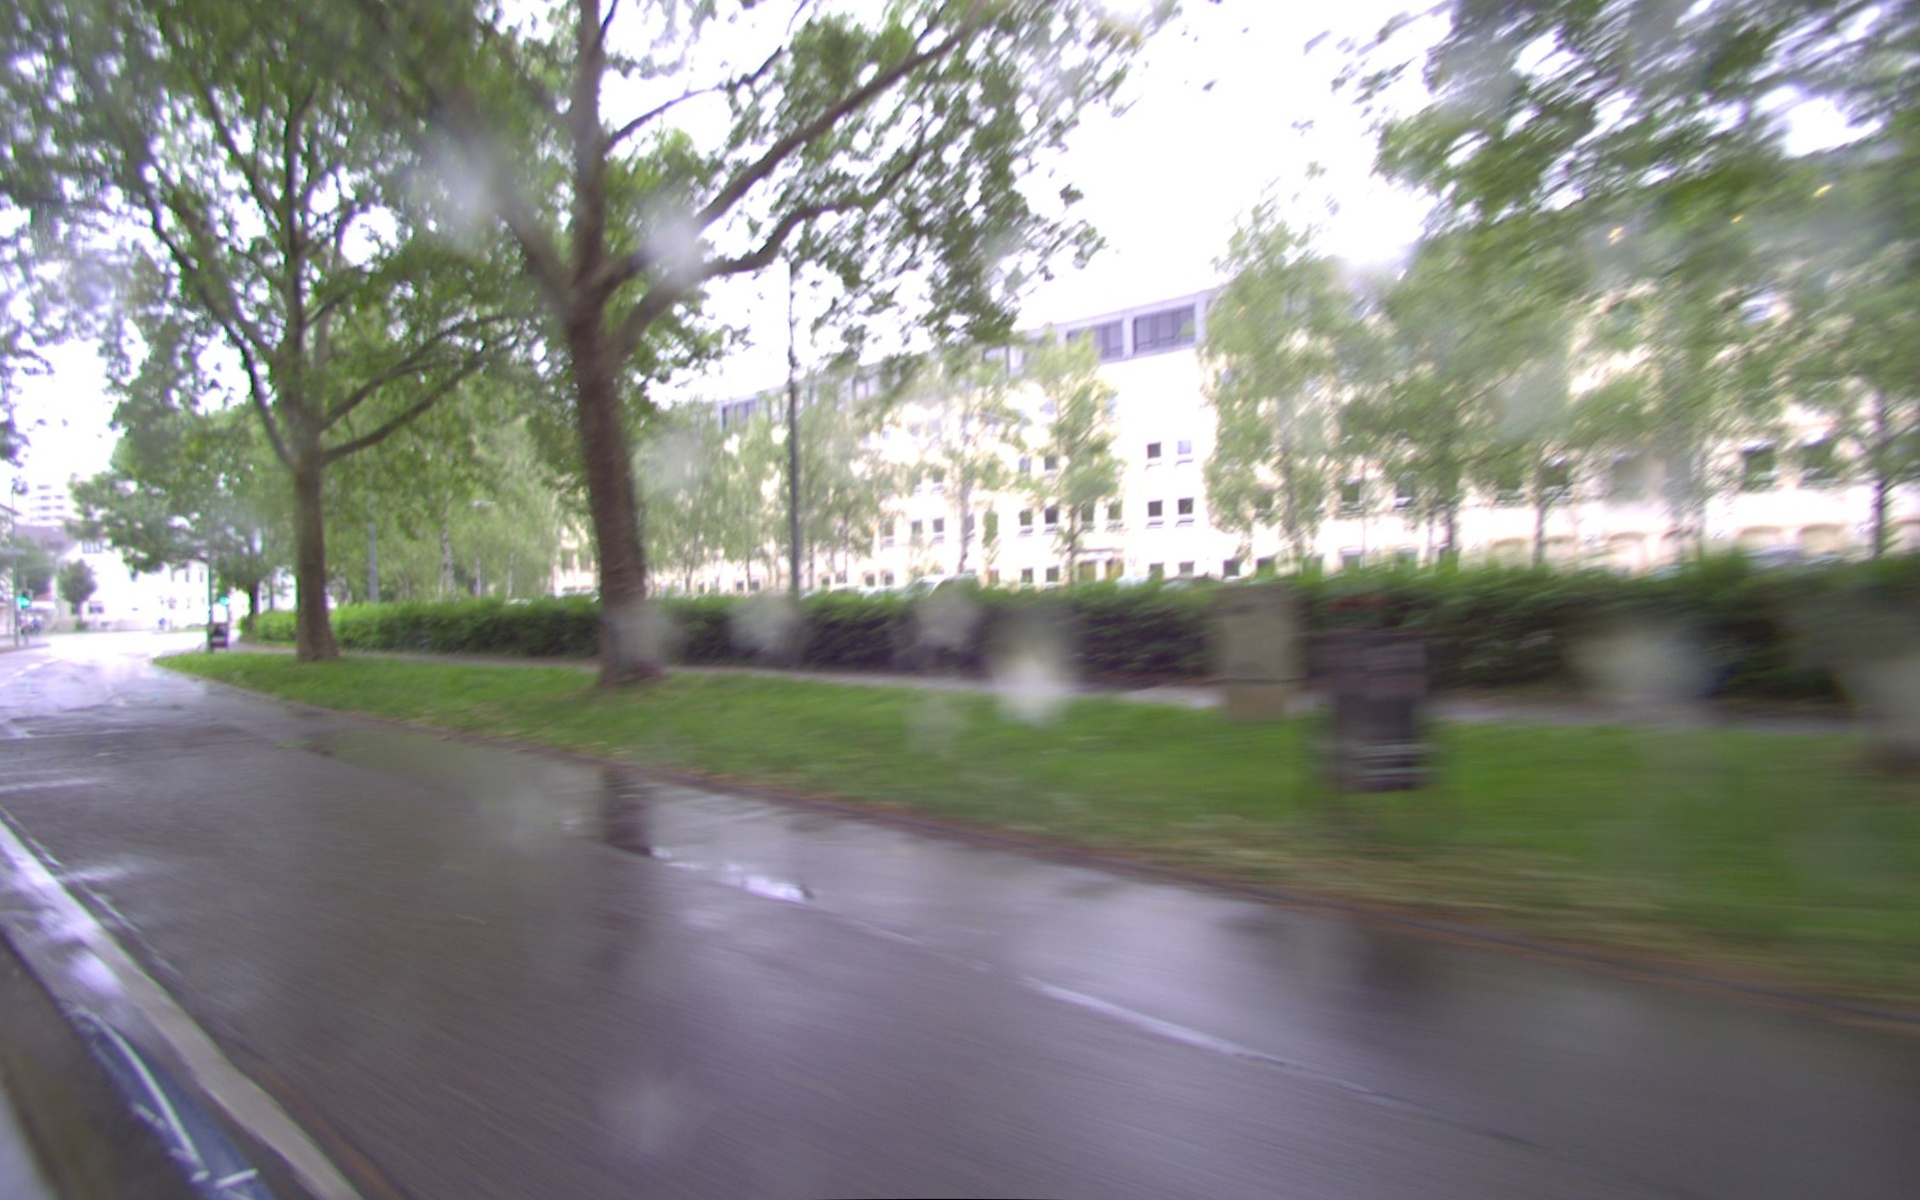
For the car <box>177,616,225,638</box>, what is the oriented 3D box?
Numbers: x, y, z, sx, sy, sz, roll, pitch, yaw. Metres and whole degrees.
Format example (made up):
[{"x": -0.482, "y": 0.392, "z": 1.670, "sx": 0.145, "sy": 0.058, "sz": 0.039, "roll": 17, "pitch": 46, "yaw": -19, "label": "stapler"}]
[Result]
[{"x": -84.513, "y": 3.003, "z": 112.704, "sx": 2.161, "sy": 2.272, "sz": 4.894, "roll": -2, "pitch": 0, "yaw": -9, "label": "car"}]

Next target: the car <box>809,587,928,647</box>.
[{"x": -3.241, "y": 0.592, "z": 36.287, "sx": 1.999, "sy": 2.029, "sz": 3.945, "roll": -2, "pitch": -1, "yaw": 42, "label": "car"}]

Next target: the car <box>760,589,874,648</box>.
[{"x": -5.467, "y": 0.678, "z": 38.964, "sx": 2.000, "sy": 2.149, "sz": 3.944, "roll": -2, "pitch": -1, "yaw": 42, "label": "car"}]

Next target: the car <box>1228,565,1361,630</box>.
[{"x": 9.005, "y": -0.046, "z": 27.109, "sx": 1.999, "sy": 1.578, "sz": 3.945, "roll": -2, "pitch": -1, "yaw": 41, "label": "car"}]

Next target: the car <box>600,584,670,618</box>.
[{"x": -33.034, "y": 0.095, "z": 103.080, "sx": 2.835, "sy": 3.217, "sz": 6.136, "roll": -2, "pitch": 0, "yaw": 38, "label": "car"}]

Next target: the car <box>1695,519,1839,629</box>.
[{"x": 16.625, "y": -0.464, "z": 20.782, "sx": 2.000, "sy": 2.029, "sz": 3.944, "roll": -2, "pitch": -1, "yaw": 42, "label": "car"}]

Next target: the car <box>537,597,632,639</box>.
[{"x": -18.414, "y": 0.866, "z": 49.785, "sx": 1.852, "sy": 1.847, "sz": 3.950, "roll": -2, "pitch": 0, "yaw": 37, "label": "car"}]

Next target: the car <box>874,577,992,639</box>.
[{"x": -0.907, "y": 0.279, "z": 35.766, "sx": 1.999, "sy": 2.029, "sz": 3.945, "roll": -2, "pitch": -1, "yaw": 42, "label": "car"}]
